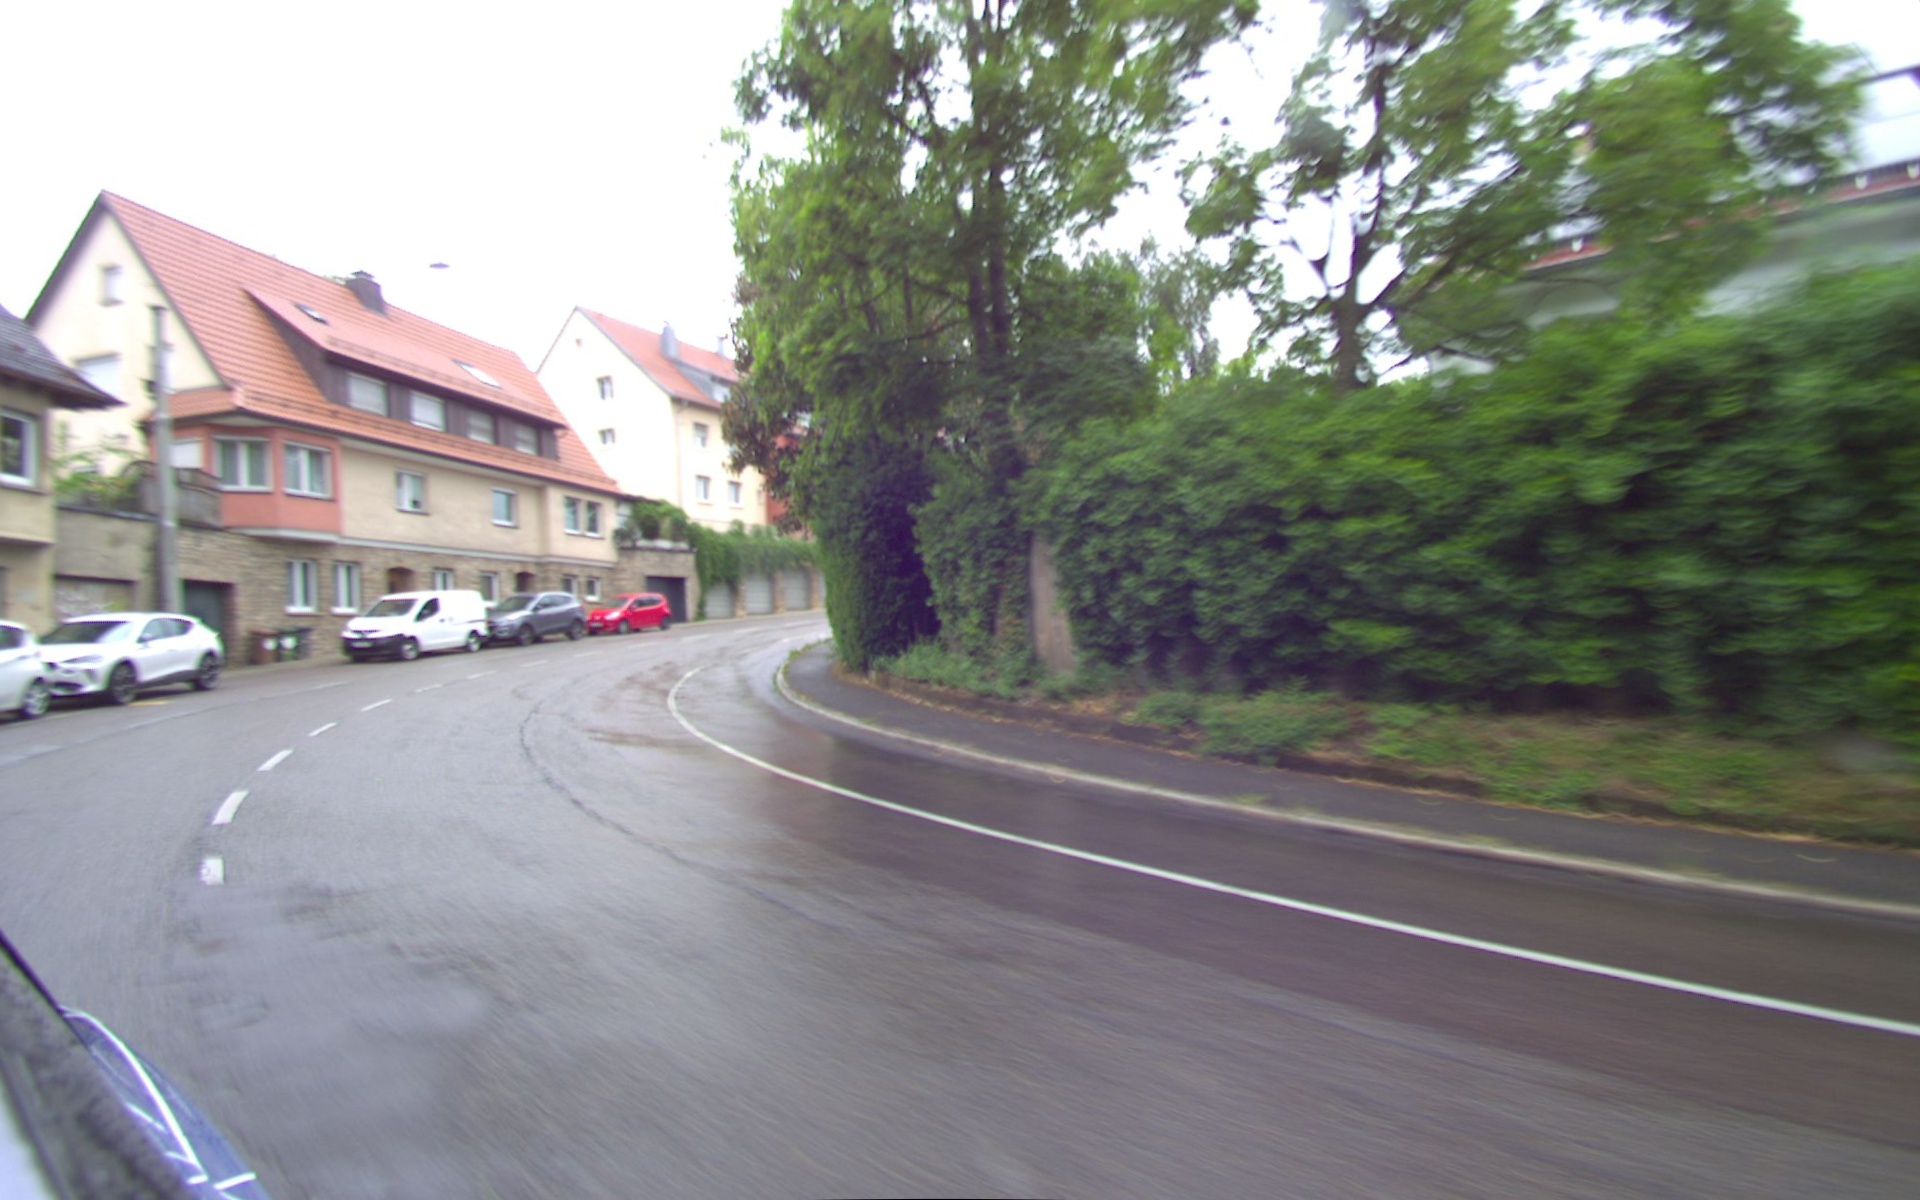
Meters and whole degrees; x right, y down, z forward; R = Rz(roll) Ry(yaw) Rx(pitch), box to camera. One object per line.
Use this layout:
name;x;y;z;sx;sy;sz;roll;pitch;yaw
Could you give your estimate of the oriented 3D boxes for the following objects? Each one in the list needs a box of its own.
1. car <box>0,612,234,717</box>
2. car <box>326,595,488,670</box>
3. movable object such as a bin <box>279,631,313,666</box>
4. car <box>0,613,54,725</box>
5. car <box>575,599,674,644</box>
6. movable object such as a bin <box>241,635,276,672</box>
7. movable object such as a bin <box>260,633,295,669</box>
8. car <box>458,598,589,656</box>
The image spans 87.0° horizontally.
car;-14.999;1.026;17.858;1.888;1.550;4.425;-1;0;-11
car;-15.415;0.831;28.490;1.691;1.804;4.316;-3;1;8
movable object such as a bin;-18.129;1.313;27.626;0.576;0.929;0.510;0;1;15
car;-13.846;0.964;13.057;1.740;1.526;3.835;-1;0;-17
car;-12.701;0.771;38.492;1.609;1.446;3.555;-2;2;22
movable object such as a bin;-18.385;1.390;26.525;0.576;0.929;0.510;0;1;15
movable object such as a bin;-18.241;1.362;27.064;0.576;0.929;0.510;0;1;15
car;-14.278;0.833;33.402;1.605;1.616;4.392;-2;1;14
